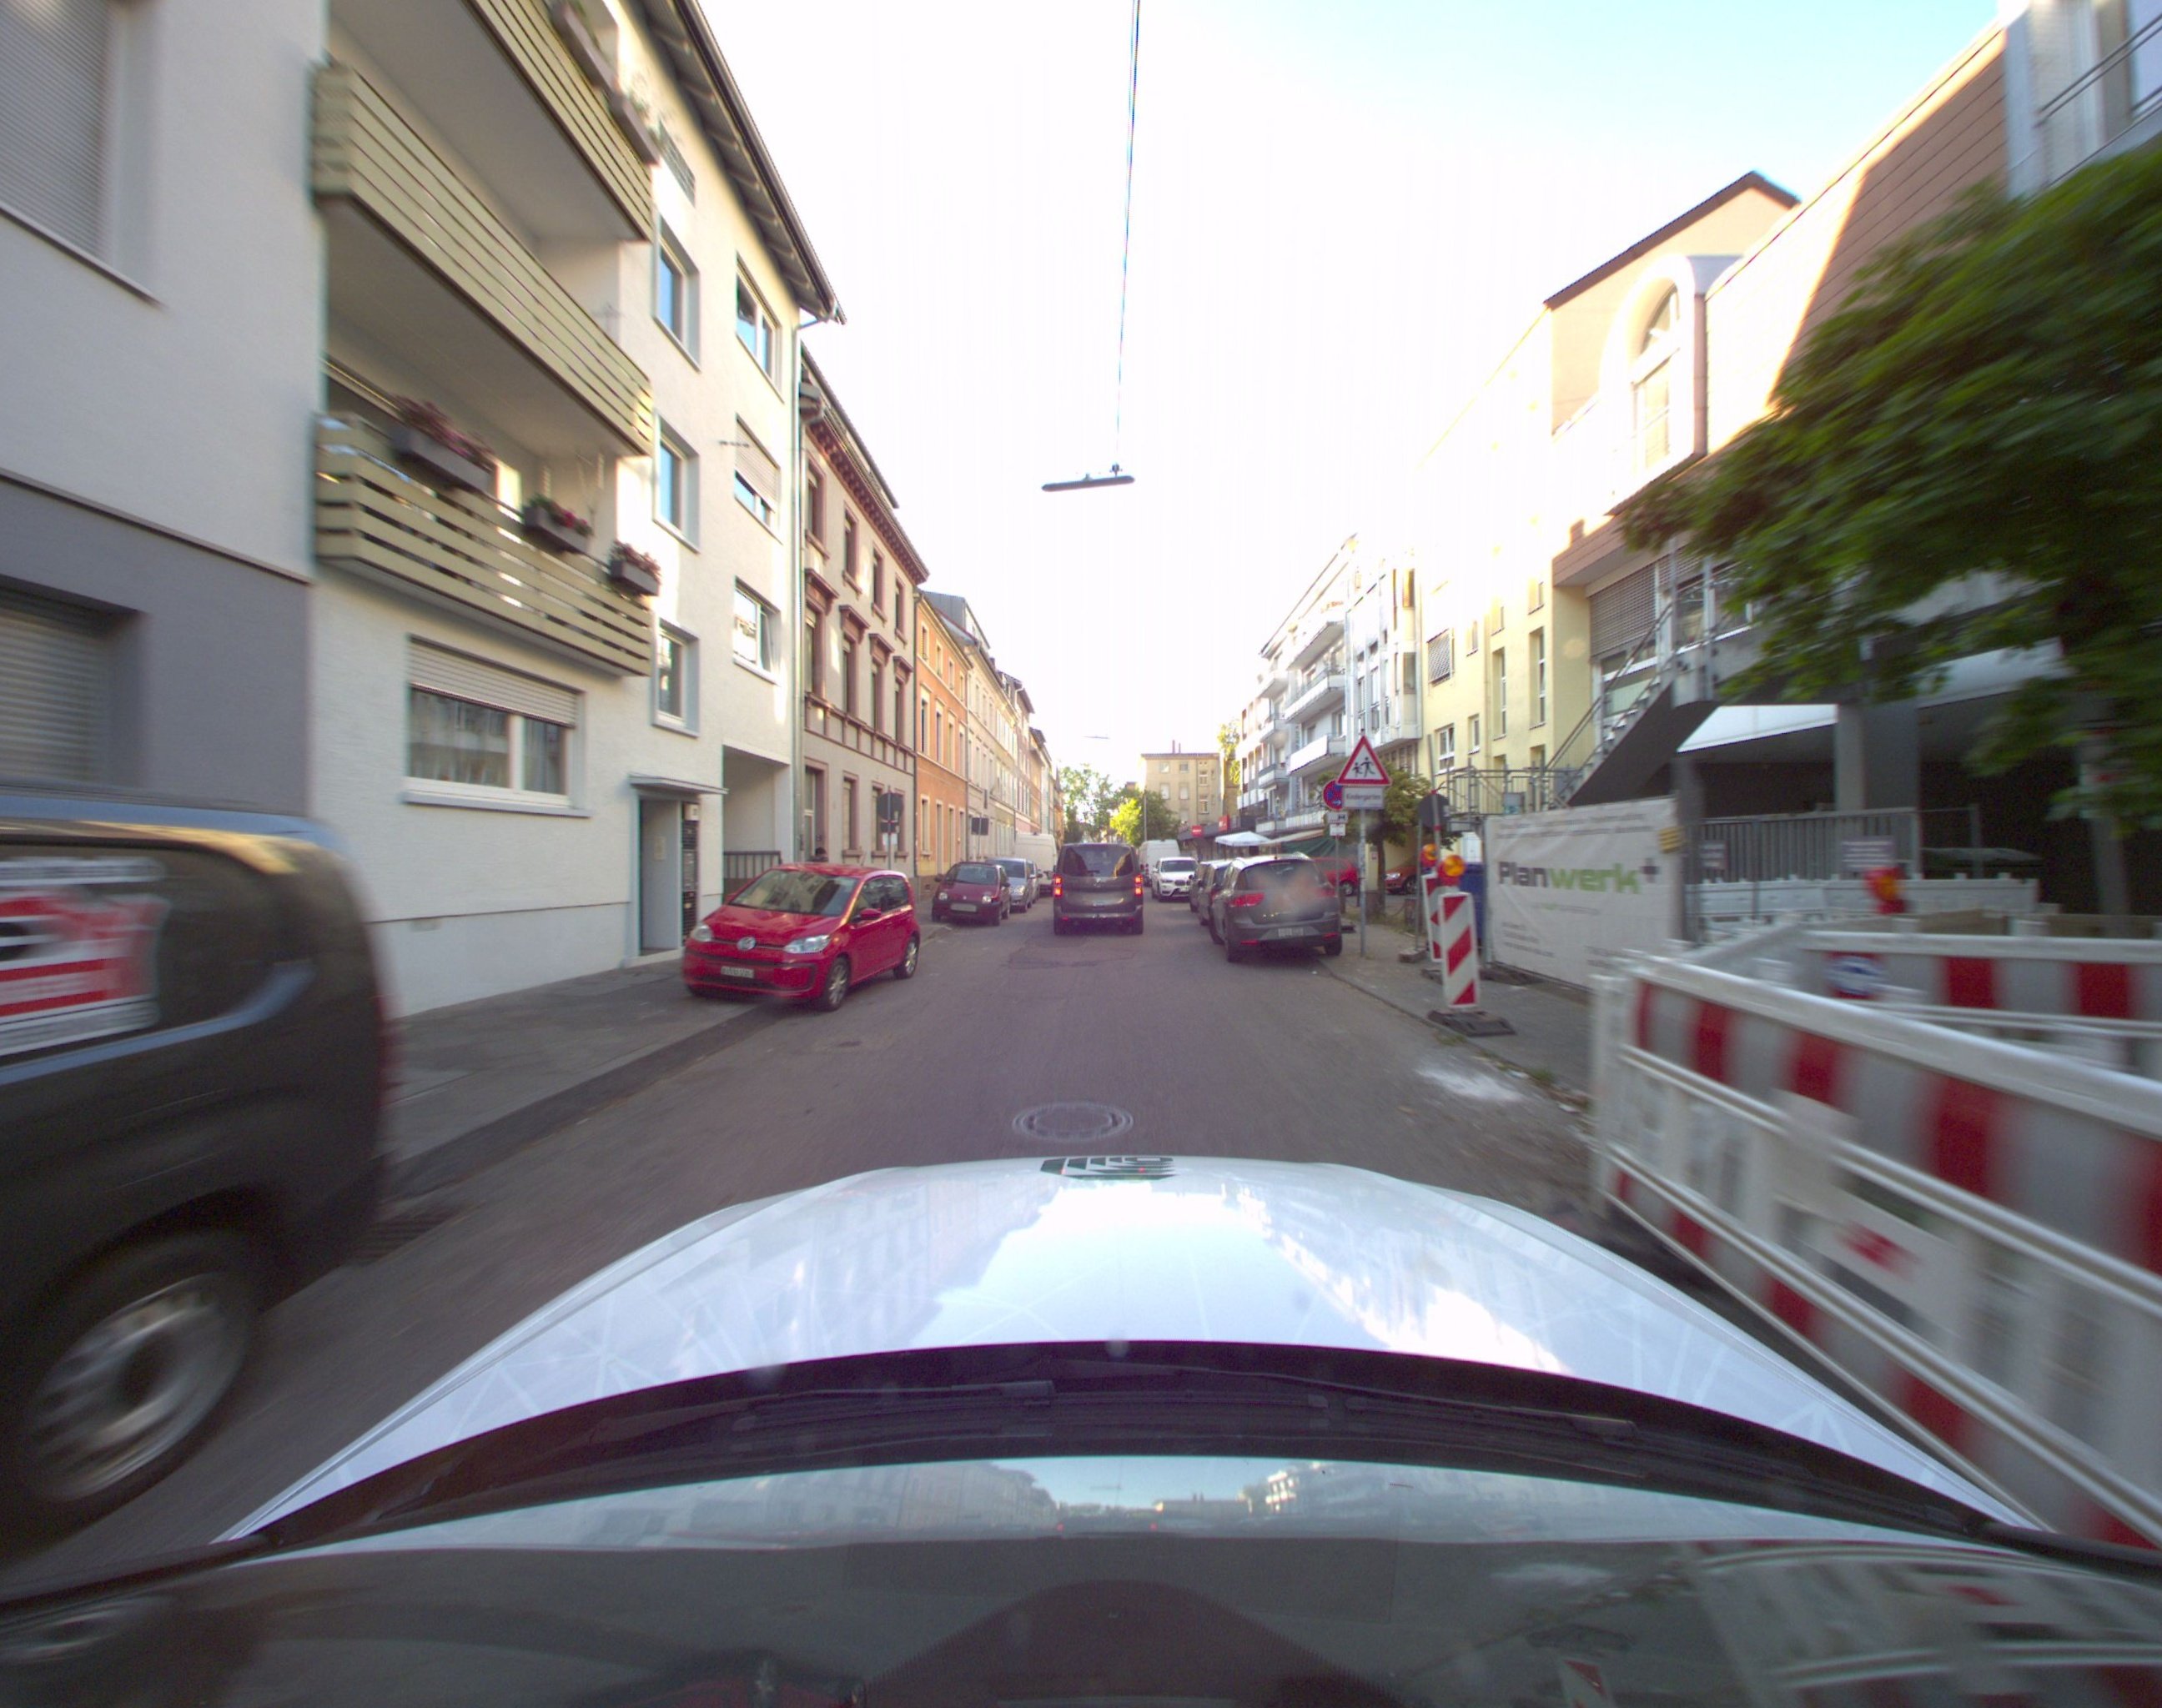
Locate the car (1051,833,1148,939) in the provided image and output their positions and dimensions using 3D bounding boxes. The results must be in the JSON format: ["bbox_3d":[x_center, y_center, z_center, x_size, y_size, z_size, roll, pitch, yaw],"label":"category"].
[{"bbox_3d":[0.389,0.629,18.028,1.851,2.013,4.000,-2,0,1],"label":"car"}]

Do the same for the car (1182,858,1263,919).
[{"bbox_3d":[3.873,0.900,22.849,1.614,1.486,4.126,-2,0,2],"label":"car"}]

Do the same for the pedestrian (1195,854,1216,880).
[{"bbox_3d":[8.610,0.910,56.309,0.939,1.720,1.052,-1,-1,-33],"label":"pedestrian"}]

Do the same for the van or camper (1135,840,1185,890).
[{"bbox_3d":[4.443,0.616,47.142,2.093,2.602,7.510,-1,0,0],"label":"van or camper"}]

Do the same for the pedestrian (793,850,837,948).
[{"bbox_3d":[-4.554,0.756,13.973,0.493,1.638,0.666,1,-1,1],"label":"pedestrian"}]

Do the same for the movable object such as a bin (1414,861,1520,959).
[{"bbox_3d":[5.751,0.811,12.133,1.256,1.376,0.795,1,-1,-24],"label":"movable object such as a bin"}]

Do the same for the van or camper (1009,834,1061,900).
[{"bbox_3d":[-1.971,0.560,36.866,1.943,2.649,7.138,-1,0,-1],"label":"van or camper"}]

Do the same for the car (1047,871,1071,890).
[{"bbox_3d":[-1.680,2.028,63.095,1.783,1.397,4.464,1,0,-2],"label":"car"}]

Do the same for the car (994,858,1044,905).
[{"bbox_3d":[-2.307,1.016,31.194,1.585,1.686,3.653,0,0,1],"label":"car"}]

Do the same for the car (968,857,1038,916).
[{"bbox_3d":[-2.347,0.953,25.456,1.705,1.644,3.979,2,0,0],"label":"car"}]

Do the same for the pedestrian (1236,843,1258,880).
[{"bbox_3d":[9.763,0.465,47.961,0.874,2.145,0.951,-1,-1,-15],"label":"pedestrian"}]

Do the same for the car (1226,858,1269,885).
[{"bbox_3d":[9.035,0.917,44.097,1.585,1.416,3.247,-1,-1,24],"label":"car"}]

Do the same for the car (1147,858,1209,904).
[{"bbox_3d":[3.600,0.966,31.023,1.717,1.612,4.586,0,-1,-1],"label":"car"}]

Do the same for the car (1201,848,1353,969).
[{"bbox_3d":[3.105,0.775,13.783,1.741,1.683,4.529,1,0,3],"label":"car"}]

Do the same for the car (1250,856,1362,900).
[{"bbox_3d":[8.728,0.925,31.784,3.883,1.607,1.694,1,-1,0],"label":"car"}]

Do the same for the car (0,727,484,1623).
[{"bbox_3d":[-3.235,0.657,0.726,1.987,1.859,4.584,0,0,0],"label":"car"}]

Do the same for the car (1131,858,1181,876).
[{"bbox_3d":[7.247,1.260,79.330,4.564,1.792,1.996,0,0,-6],"label":"car"}]

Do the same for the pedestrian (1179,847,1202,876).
[{"bbox_3d":[6.114,0.436,45.517,0.874,1.556,0.869,-3,0,-21],"label":"pedestrian"}]

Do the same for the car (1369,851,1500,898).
[{"bbox_3d":[13.298,0.765,30.804,4.098,1.659,1.998,-1,-1,-3],"label":"car"}]

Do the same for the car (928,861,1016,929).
[{"bbox_3d":[-2.613,0.944,20.204,1.651,1.448,3.285,3,0,0],"label":"car"}]

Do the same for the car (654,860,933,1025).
[{"bbox_3d":[-3.189,0.882,9.871,1.660,1.485,3.612,5,0,6],"label":"car"}]

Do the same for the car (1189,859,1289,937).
[{"bbox_3d":[3.419,0.891,18.205,1.616,1.558,3.695,0,0,2],"label":"car"}]
